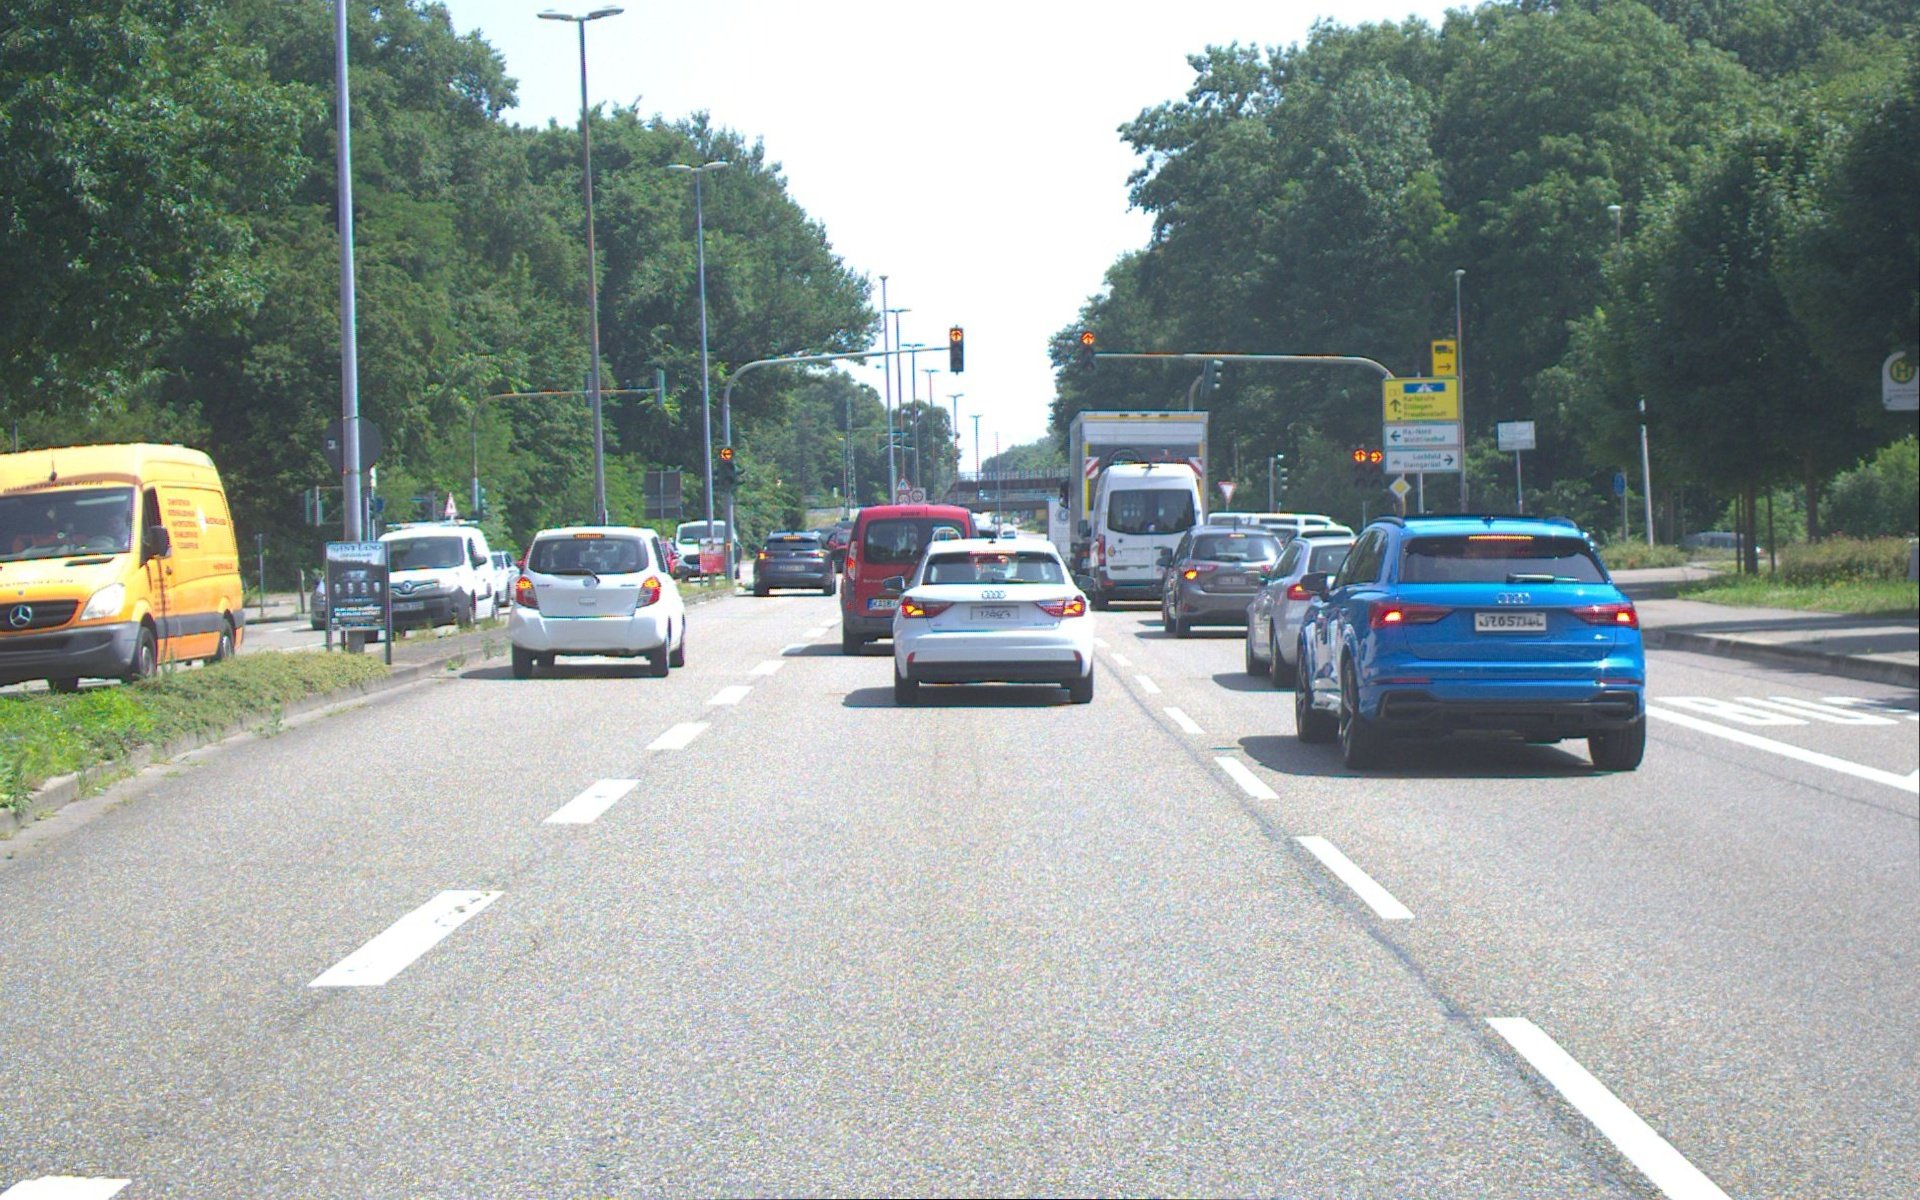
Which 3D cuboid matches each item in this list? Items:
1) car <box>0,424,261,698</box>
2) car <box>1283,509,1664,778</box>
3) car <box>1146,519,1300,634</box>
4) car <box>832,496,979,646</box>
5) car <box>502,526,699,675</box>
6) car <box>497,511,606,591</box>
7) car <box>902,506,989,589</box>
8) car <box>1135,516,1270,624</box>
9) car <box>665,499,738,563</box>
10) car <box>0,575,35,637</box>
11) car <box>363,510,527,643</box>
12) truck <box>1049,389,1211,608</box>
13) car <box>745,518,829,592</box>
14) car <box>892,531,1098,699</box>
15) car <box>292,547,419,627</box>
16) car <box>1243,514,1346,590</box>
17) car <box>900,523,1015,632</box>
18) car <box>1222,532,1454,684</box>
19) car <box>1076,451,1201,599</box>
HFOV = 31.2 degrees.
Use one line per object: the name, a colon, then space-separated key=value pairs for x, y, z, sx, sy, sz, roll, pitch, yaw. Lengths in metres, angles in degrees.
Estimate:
car: x=-9.115 y=-0.423 z=35.909 sx=2.265 sy=2.559 sz=6.058 roll=-3 pitch=1 yaw=0
car: x=3.280 y=0.209 z=22.780 sx=1.837 sy=1.590 sz=4.400 roll=-1 pitch=1 yaw=0
car: x=3.627 y=-0.358 z=47.998 sx=1.712 sy=1.473 sz=4.092 roll=2 pitch=1 yaw=-1
car: x=-0.669 y=-0.380 z=42.304 sx=1.712 sy=1.742 sz=4.092 roll=-1 pitch=1 yaw=-1
car: x=-3.761 y=-0.040 z=36.529 sx=1.712 sy=1.487 sz=4.092 roll=-1 pitch=1 yaw=-1
car: x=-8.771 y=-1.086 z=74.041 sx=1.749 sy=1.564 sz=4.153 roll=-4 pitch=1 yaw=0
car: x=-0.326 y=-1.075 z=70.028 sx=1.712 sy=1.626 sz=4.092 roll=-1 pitch=1 yaw=-1
car: x=3.690 y=-0.487 z=52.940 sx=1.712 sy=1.587 sz=4.092 roll=-1 pitch=1 yaw=-1
car: x=-8.538 y=-2.294 z=113.794 sx=1.993 sy=1.939 sz=4.909 roll=-4 pitch=1 yaw=0
car: x=-27.680 y=0.144 z=94.058 sx=4.369 sy=1.676 sz=1.811 roll=0 pitch=1 yaw=-7
car: x=-8.137 y=-0.420 z=54.679 sx=1.852 sy=1.899 sz=4.426 roll=-4 pitch=1 yaw=0
truck: x=3.582 y=-2.170 z=75.084 sx=3.088 sy=4.418 sz=11.580 roll=0 pitch=1 yaw=1
car: x=-3.929 y=-1.053 z=78.587 sx=1.774 sy=1.635 sz=4.037 roll=-1 pitch=1 yaw=-1
car: x=0.258 y=0.087 z=30.824 sx=1.712 sy=1.381 sz=4.092 roll=-1 pitch=1 yaw=-1
car: x=-12.253 y=-0.290 z=69.922 sx=1.749 sy=1.446 sz=4.133 roll=-4 pitch=1 yaw=0
car: x=7.015 y=-1.022 z=72.405 sx=1.712 sy=1.541 sz=4.092 roll=-1 pitch=1 yaw=-1
car: x=-0.074 y=-0.378 z=53.795 sx=1.712 sy=1.626 sz=4.092 roll=-1 pitch=1 yaw=-1
car: x=3.590 y=0.031 z=33.278 sx=1.712 sy=1.357 sz=4.092 roll=1 pitch=1 yaw=-1
car: x=3.271 y=-1.394 z=63.823 sx=2.031 sy=2.635 sz=4.845 roll=0 pitch=1 yaw=0
